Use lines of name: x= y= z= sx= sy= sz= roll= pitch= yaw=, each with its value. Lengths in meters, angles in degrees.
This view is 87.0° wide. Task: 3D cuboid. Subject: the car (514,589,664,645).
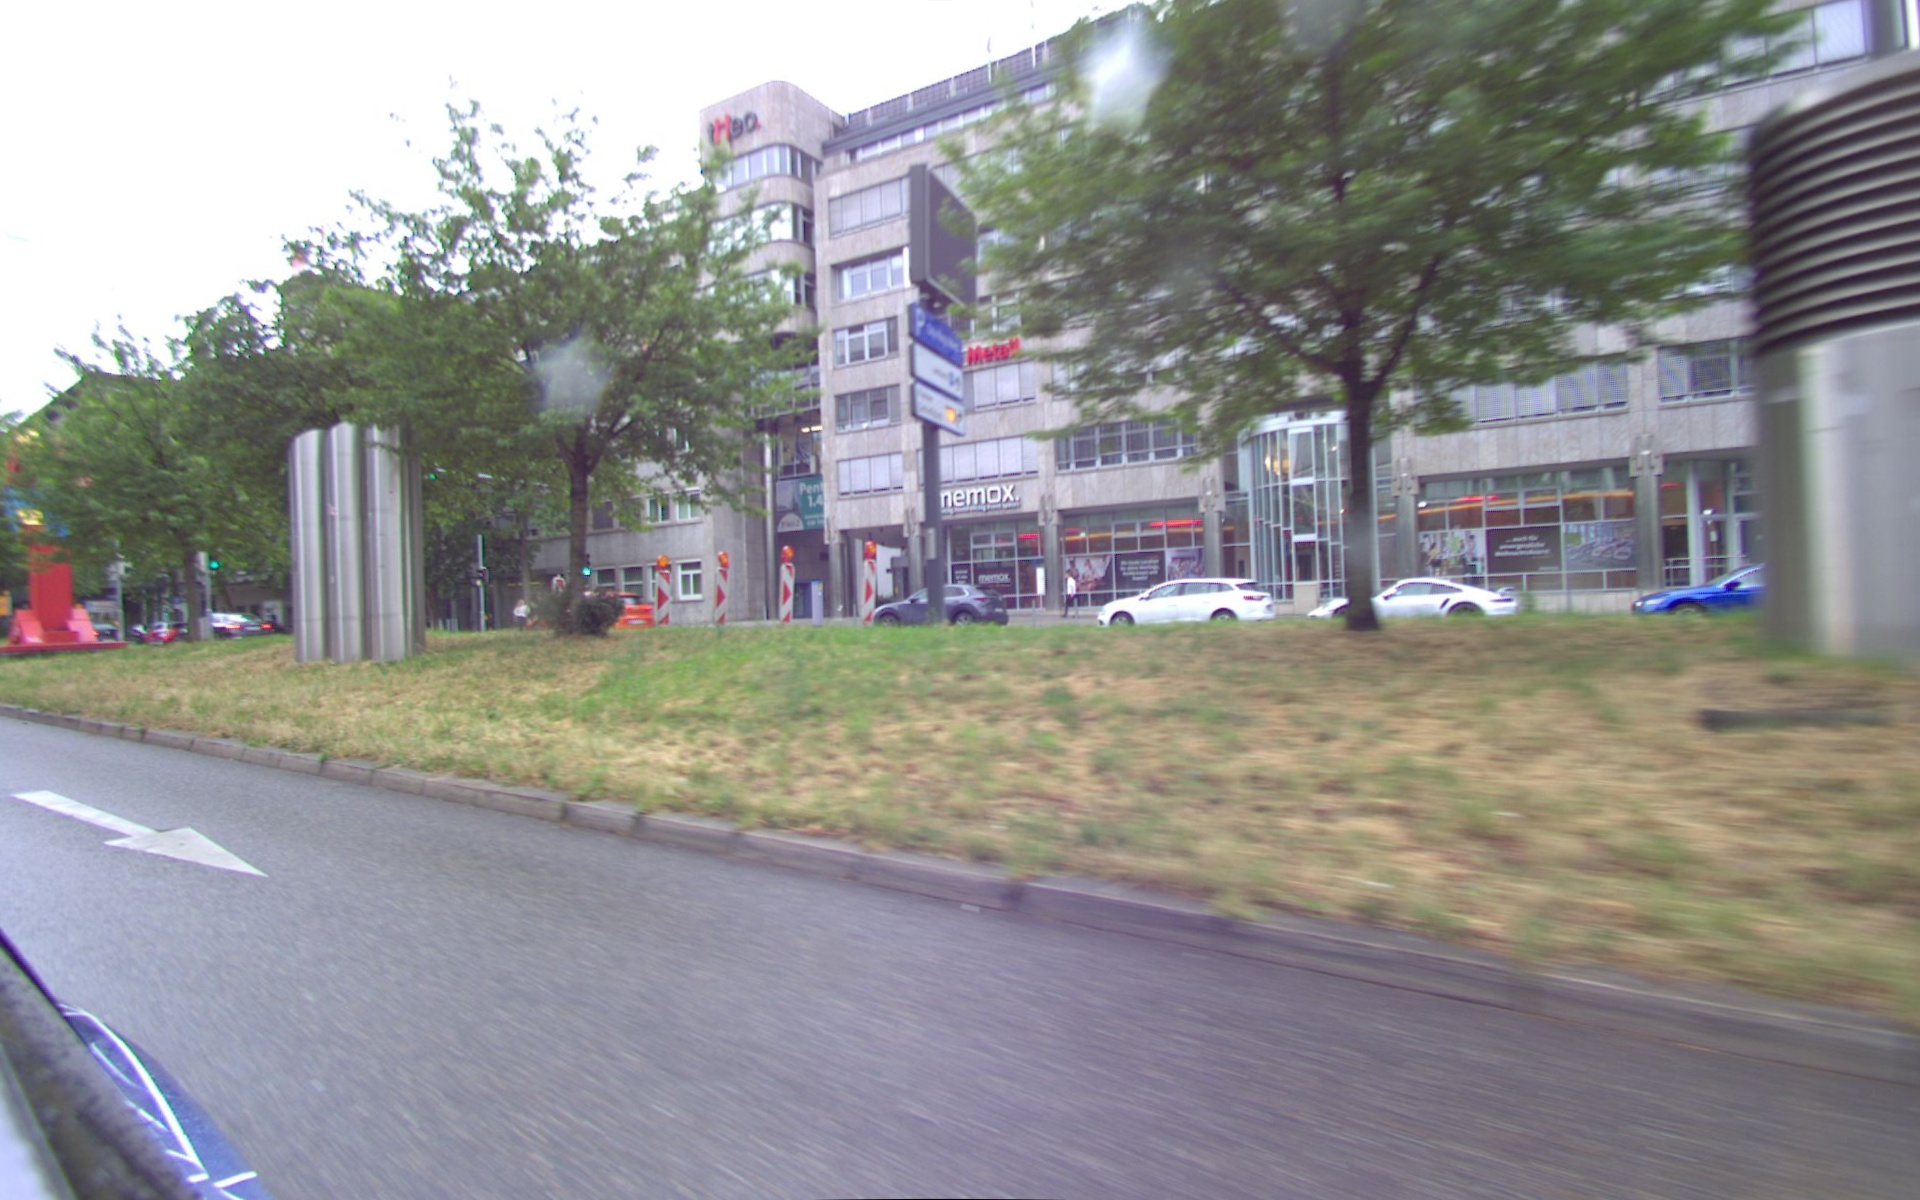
car: x=-10.466 y=0.487 z=28.491 sx=4.118 sy=1.440 sz=1.847 roll=-2 pitch=-1 yaw=32

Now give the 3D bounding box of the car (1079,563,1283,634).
car: x=5.695 y=0.014 z=26.395 sx=4.900 sy=1.634 sz=1.761 roll=-2 pitch=-1 yaw=34

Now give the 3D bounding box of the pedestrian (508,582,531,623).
pedestrian: x=-17.987 y=0.089 z=41.356 sx=0.619 sy=1.641 sz=0.600 roll=-2 pitch=0 yaw=38

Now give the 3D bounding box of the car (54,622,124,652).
car: x=-43.762 y=1.882 z=50.834 sx=3.991 sy=1.425 sz=1.774 roll=-2 pitch=-2 yaw=35

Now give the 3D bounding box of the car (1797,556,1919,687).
car: x=14.067 y=0.243 z=13.597 sx=3.982 sy=1.713 sz=1.933 roll=-2 pitch=0 yaw=29

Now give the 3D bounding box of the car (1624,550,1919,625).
car: x=16.214 y=-0.212 z=20.515 sx=4.459 sy=1.335 sz=1.879 roll=-2 pitch=0 yaw=31

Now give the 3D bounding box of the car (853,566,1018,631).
car: x=-0.786 y=-0.005 z=30.399 sx=4.779 sy=1.739 sz=1.846 roll=-2 pitch=-1 yaw=34

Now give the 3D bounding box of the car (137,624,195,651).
car: x=-47.229 y=2.231 z=60.187 sx=3.683 sy=1.514 sz=1.672 roll=-2 pitch=-1 yaw=34

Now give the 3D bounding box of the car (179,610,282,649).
car: x=-29.418 y=1.195 z=40.783 sx=4.552 sy=1.440 sz=1.847 roll=-2 pitch=-1 yaw=33

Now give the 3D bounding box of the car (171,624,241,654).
car: x=-42.947 y=2.225 z=57.602 sx=4.456 sy=1.634 sz=1.846 roll=-2 pitch=-1 yaw=34

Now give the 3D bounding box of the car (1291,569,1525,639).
car: x=10.240 y=0.133 z=23.307 sx=4.672 sy=1.412 sz=1.761 roll=-2 pitch=-1 yaw=34

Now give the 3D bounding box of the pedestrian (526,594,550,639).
pedestrian: x=-17.069 y=0.671 z=40.932 sx=0.720 sy=1.801 sz=0.522 roll=-2 pitch=0 yaw=38

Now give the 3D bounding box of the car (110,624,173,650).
car: x=-50.882 y=2.319 z=62.896 sx=4.563 sy=1.498 sz=1.771 roll=-2 pitch=-1 yaw=34

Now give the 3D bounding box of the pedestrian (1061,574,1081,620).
pedestrian: x=4.353 y=-0.115 z=39.734 sx=0.526 sy=1.801 sz=0.716 roll=-2 pitch=0 yaw=23

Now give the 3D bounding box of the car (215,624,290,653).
car: x=-38.461 y=2.098 z=54.968 sx=4.554 sy=1.440 sz=1.846 roll=-2 pitch=-1 yaw=34
